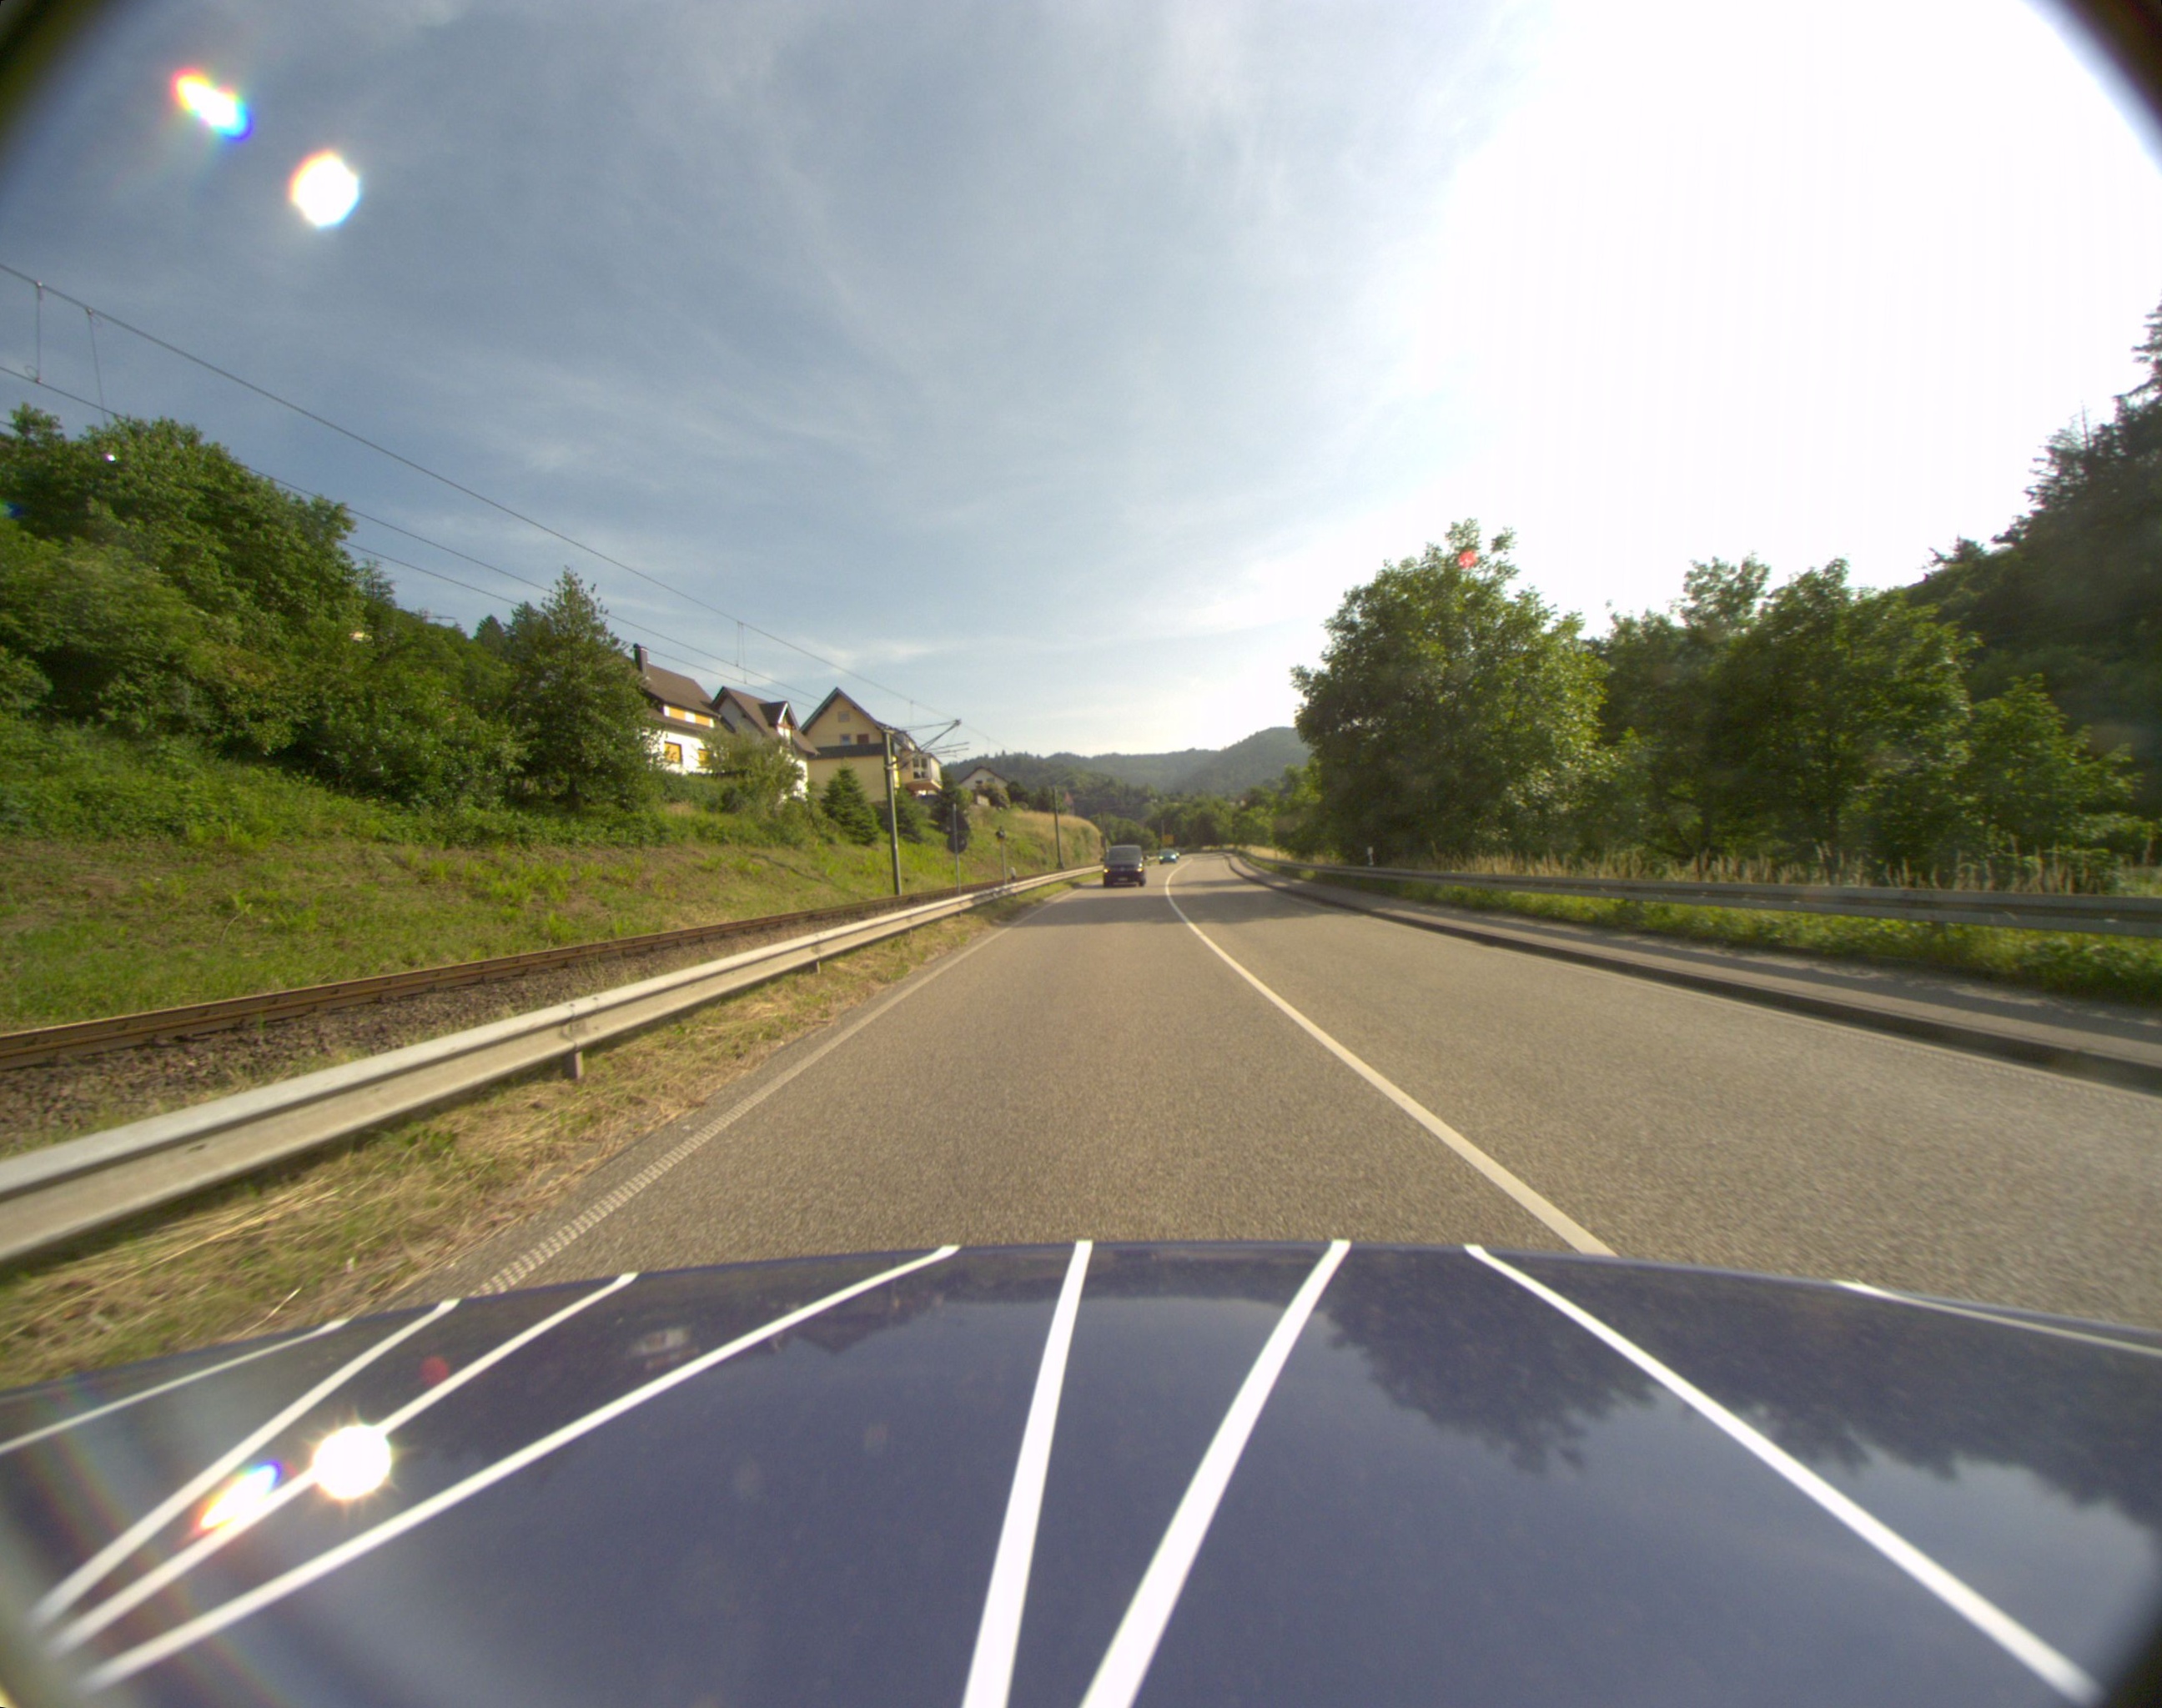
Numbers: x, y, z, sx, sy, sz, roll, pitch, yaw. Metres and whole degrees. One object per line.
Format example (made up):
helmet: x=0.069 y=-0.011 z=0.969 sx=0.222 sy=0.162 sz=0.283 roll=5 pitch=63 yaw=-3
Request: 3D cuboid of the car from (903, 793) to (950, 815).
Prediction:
car: x=-14.372 y=-4.658 z=70.806 sx=3.749 sy=1.531 sz=1.752 roll=-6 pitch=1 yaw=3

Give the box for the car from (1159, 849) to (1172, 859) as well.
car: x=14.724 y=0.034 z=132.622 sx=1.884 sy=1.735 sz=4.180 roll=-2 pitch=0 yaw=4

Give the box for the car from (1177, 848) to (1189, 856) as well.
car: x=19.971 y=-0.434 z=148.654 sx=1.582 sy=1.471 sz=3.999 roll=-1 pitch=0 yaw=-3

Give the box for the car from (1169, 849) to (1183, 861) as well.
car: x=14.288 y=0.118 z=114.320 sx=1.884 sy=1.735 sz=4.180 roll=-1 pitch=0 yaw=5

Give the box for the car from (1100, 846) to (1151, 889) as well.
car: x=2.187 y=0.608 z=36.551 sx=2.017 sy=1.905 sz=4.314 roll=-1 pitch=0 yaw=9

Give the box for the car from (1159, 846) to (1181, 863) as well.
car: x=9.759 y=0.027 z=83.120 sx=1.883 sy=1.735 sz=4.182 roll=-1 pitch=0 yaw=12
